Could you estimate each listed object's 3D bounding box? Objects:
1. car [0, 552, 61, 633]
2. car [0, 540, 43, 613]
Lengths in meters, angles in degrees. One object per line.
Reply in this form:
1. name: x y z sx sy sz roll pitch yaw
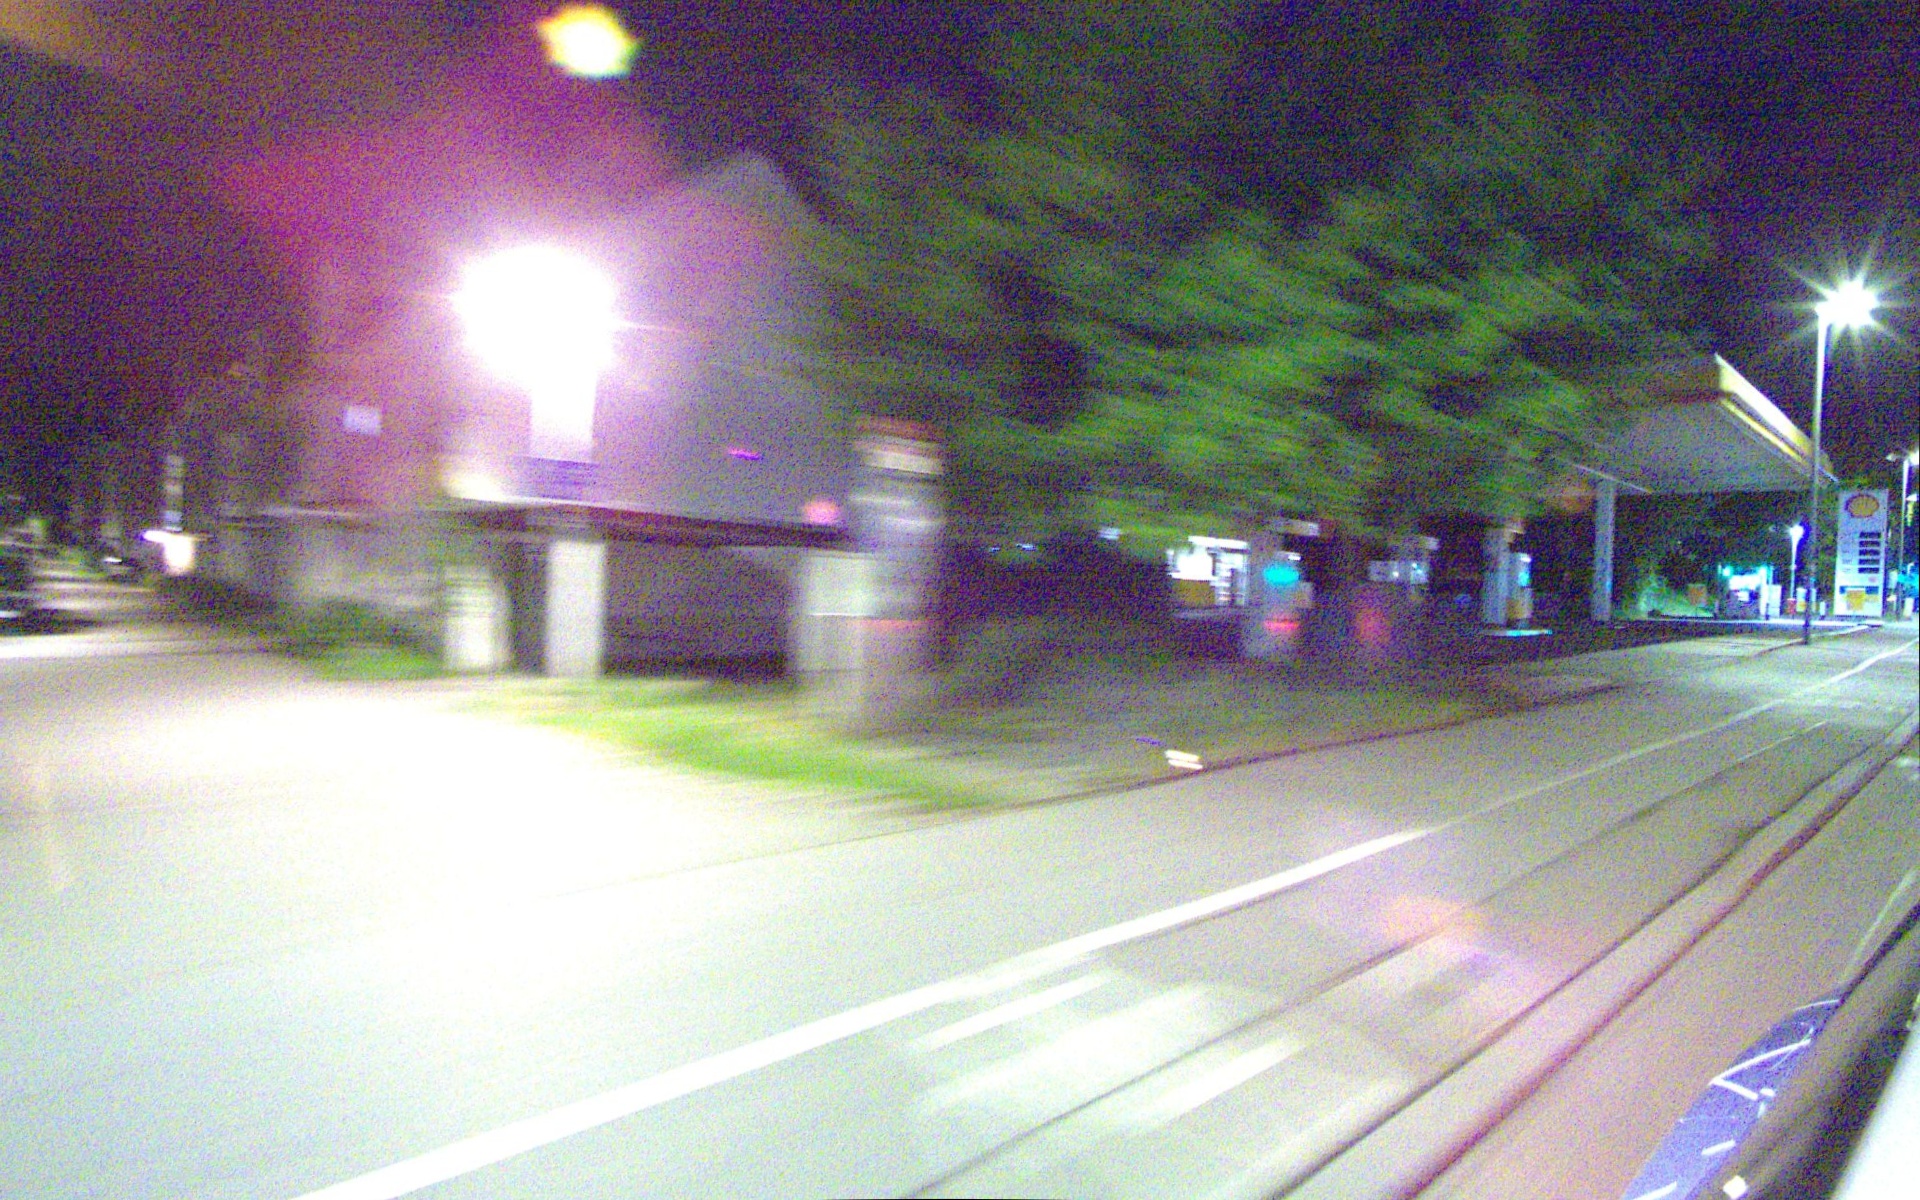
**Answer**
1. car: -20.269 -0.217 21.238 1.965 1.593 3.996 0 2 -40
2. car: -26.467 -0.673 27.678 1.965 1.905 3.994 0 2 -41
